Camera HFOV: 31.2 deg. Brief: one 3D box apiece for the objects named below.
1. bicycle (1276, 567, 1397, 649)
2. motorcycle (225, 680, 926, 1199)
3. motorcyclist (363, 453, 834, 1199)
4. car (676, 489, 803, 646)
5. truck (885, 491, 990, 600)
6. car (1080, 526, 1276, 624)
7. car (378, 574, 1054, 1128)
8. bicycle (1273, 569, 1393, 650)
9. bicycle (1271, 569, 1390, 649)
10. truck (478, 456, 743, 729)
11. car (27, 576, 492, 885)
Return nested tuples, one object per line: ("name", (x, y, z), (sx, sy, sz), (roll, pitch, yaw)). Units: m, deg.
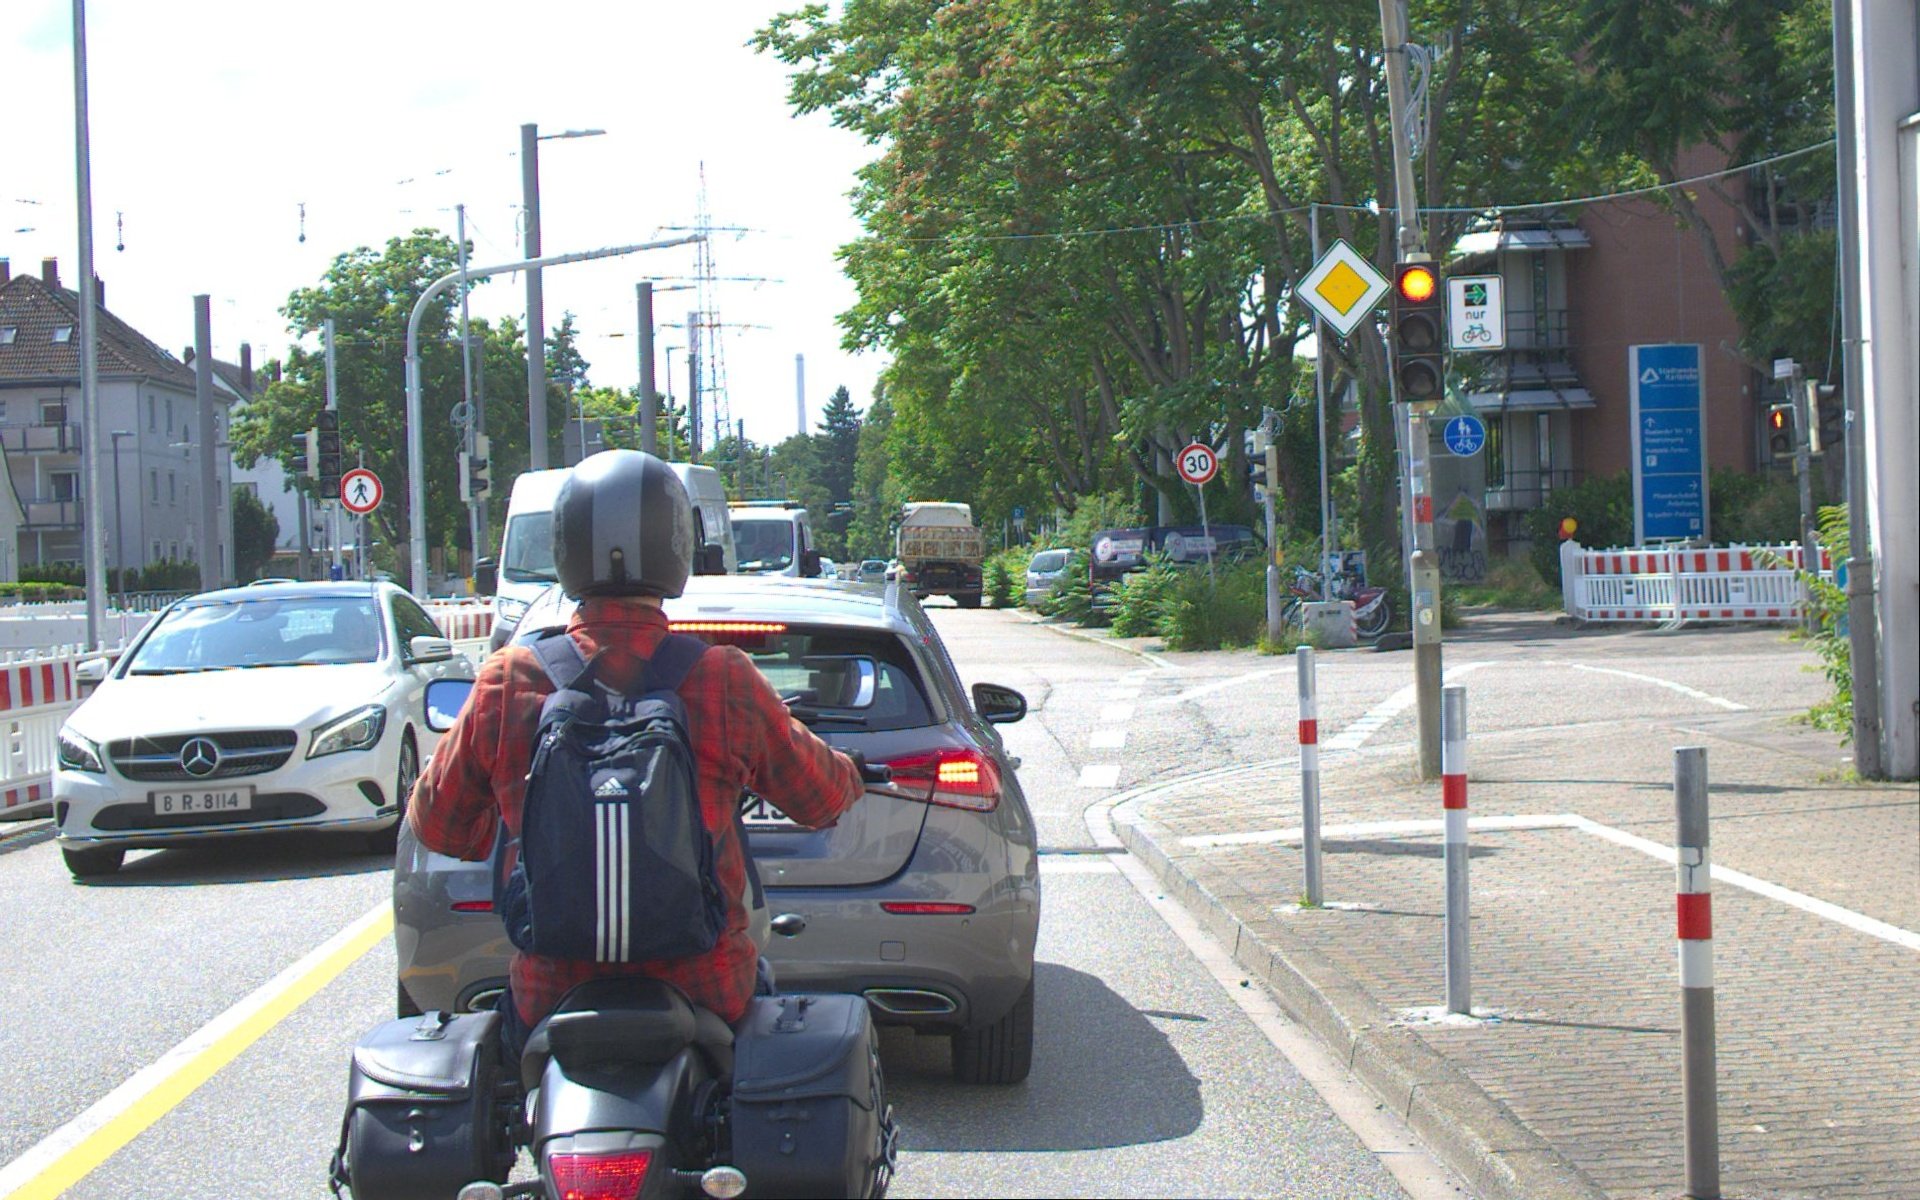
("bicycle", (5.393, 0.111, 49.340), (1.708, 1.168, 0.438), (0, 0, 4))
("motorcycle", (-0.550, 0.785, 5.887), (0.942, 1.196, 2.473), (0, 1, -1))
("motorcyclist", (-0.560, 0.577, 5.546), (0.698, 1.599, 0.692), (0, 0, -1))
("car", (-3.087, -0.446, 48.614), (1.589, 2.135, 3.627), (0, 0, -1))
("truck", (-0.632, -1.607, 104.546), (2.967, 3.162, 7.763), (0, 0, 1))
("car", (4.428, -0.501, 69.532), (1.802, 1.919, 3.990), (0, 0, 44))
("car", (-0.832, 0.638, 10.931), (1.731, 1.399, 4.087), (1, 1, -6))
("bicycle", (5.405, 0.133, 49.891), (1.708, 1.168, 0.438), (0, 0, 4))
("bicycle", (5.426, 0.132, 50.372), (1.708, 1.168, 0.438), (0, 0, 4))
("truck", (-3.455, -0.166, 34.974), (2.093, 2.468, 5.196), (-3, 2, -1))
("car", (-3.688, 0.630, 18.779), (1.744, 1.432, 4.084), (-2, 0, -1))
